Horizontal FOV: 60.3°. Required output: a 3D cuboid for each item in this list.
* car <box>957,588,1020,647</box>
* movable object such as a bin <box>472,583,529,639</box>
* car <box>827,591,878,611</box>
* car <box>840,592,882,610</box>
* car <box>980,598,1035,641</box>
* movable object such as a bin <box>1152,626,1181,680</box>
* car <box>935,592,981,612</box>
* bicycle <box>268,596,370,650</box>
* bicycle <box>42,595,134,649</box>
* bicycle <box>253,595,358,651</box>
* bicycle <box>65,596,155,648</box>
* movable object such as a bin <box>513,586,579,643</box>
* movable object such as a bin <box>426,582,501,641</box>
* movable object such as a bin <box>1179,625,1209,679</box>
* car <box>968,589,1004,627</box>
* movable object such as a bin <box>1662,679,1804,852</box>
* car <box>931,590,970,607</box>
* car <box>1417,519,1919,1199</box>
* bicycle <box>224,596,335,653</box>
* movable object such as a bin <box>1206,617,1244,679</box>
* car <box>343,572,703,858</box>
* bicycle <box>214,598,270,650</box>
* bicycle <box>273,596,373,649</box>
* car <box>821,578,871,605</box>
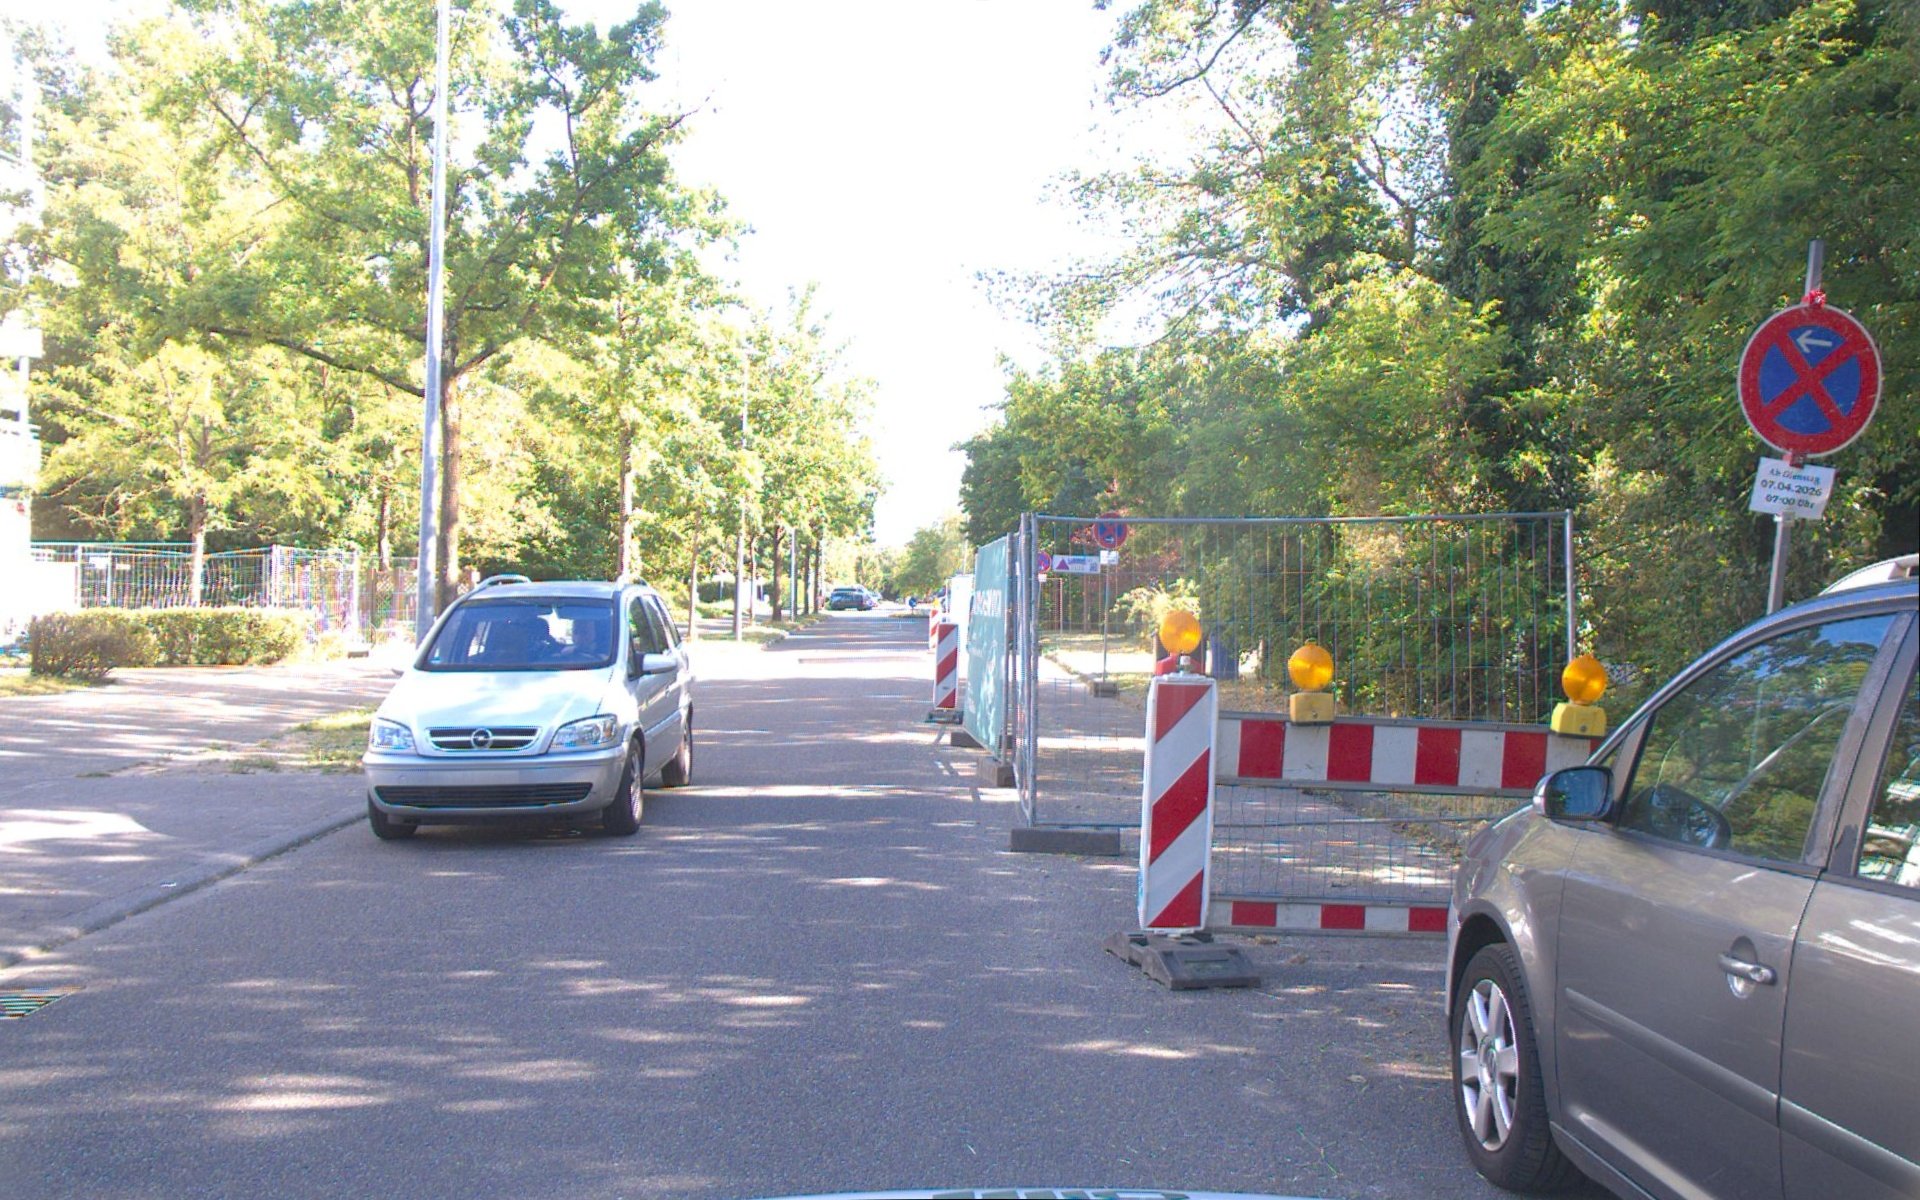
[{"bbox_3d":[0.925,0.515,51.535,1.772,1.680,4.422,2,0,2],"label":"car"},{"bbox_3d":[-12.320,0.290,44.367,1.132,1.460,1.258,0,0,-35],"label":"movable object such as a bin"},{"bbox_3d":[-9.558,0.053,147.576,4.227,1.604,2.047,2,0,5],"label":"car"},{"bbox_3d":[-9.806,0.121,163.876,4.022,1.604,1.958,2,0,0],"label":"car"},{"bbox_3d":[1.646,0.659,58.227,1.628,1.399,4.153,2,0,-2],"label":"car"},{"bbox_3d":[3.435,0.878,27.526,0.404,0.885,0.484,-1,0,-1],"label":"movable object such as a bin"},{"bbox_3d":[-0.163,0.179,143.334,3.758,1.604,1.689,2,0,5],"label":"car"},{"bbox_3d":[-12.642,0.453,32.657,1.828,1.045,0.399,1,-1,-15],"label":"bicycle"},{"bbox_3d":[-17.545,0.442,33.285,1.659,1.045,0.401,1,-1,4],"label":"bicycle"},{"bbox_3d":[-12.536,0.446,31.715,1.824,1.045,0.399,1,-1,-15],"label":"bicycle"},{"bbox_3d":[-17.456,0.442,33.963,1.659,1.045,0.401,1,-1,4],"label":"bicycle"},{"bbox_3d":[-10.689,0.365,42.730,1.242,1.460,1.182,0,0,14],"label":"movable object such as a bin"},{"bbox_3d":[-12.449,0.283,41.510,1.244,1.460,1.324,0,0,26],"label":"movable object such as a bin"},{"bbox_3d":[3.914,0.868,27.665,0.404,0.885,0.484,-1,0,-1],"label":"movable object such as a bin"},{"bbox_3d":[1.303,0.380,82.790,1.590,1.804,3.668,2,0,-1],"label":"car"},{"bbox_3d":[4.179,0.882,8.965,0.474,0.876,0.559,1,0,-4],"label":"movable object such as a bin"},{"bbox_3d":[-0.939,-0.153,168.750,3.758,1.604,1.689,2,0,5],"label":"car"},{"bbox_3d":[2.317,0.718,3.009,1.645,1.650,4.135,2,0,-2],"label":"car"},{"bbox_3d":[-12.643,0.462,30.770,1.837,1.045,0.399,1,-1,-15],"label":"bicycle"},{"bbox_3d":[4.422,0.792,27.641,0.508,1.017,0.608,-1,0,-1],"label":"movable object such as a bin"},{"bbox_3d":[-2.881,0.669,11.752,1.626,1.624,4.006,-2,0,-3],"label":"car"},{"bbox_3d":[-14.932,0.499,34.445,0.391,1.045,1.700,1,-1,1],"label":"bicycle"},{"bbox_3d":[-12.726,0.451,33.077,1.807,1.045,0.399,1,-1,-15],"label":"bicycle"},{"bbox_3d":[-11.931,-0.895,172.761,5.100,2.666,2.290,2,0,-7],"label":"car"}]
